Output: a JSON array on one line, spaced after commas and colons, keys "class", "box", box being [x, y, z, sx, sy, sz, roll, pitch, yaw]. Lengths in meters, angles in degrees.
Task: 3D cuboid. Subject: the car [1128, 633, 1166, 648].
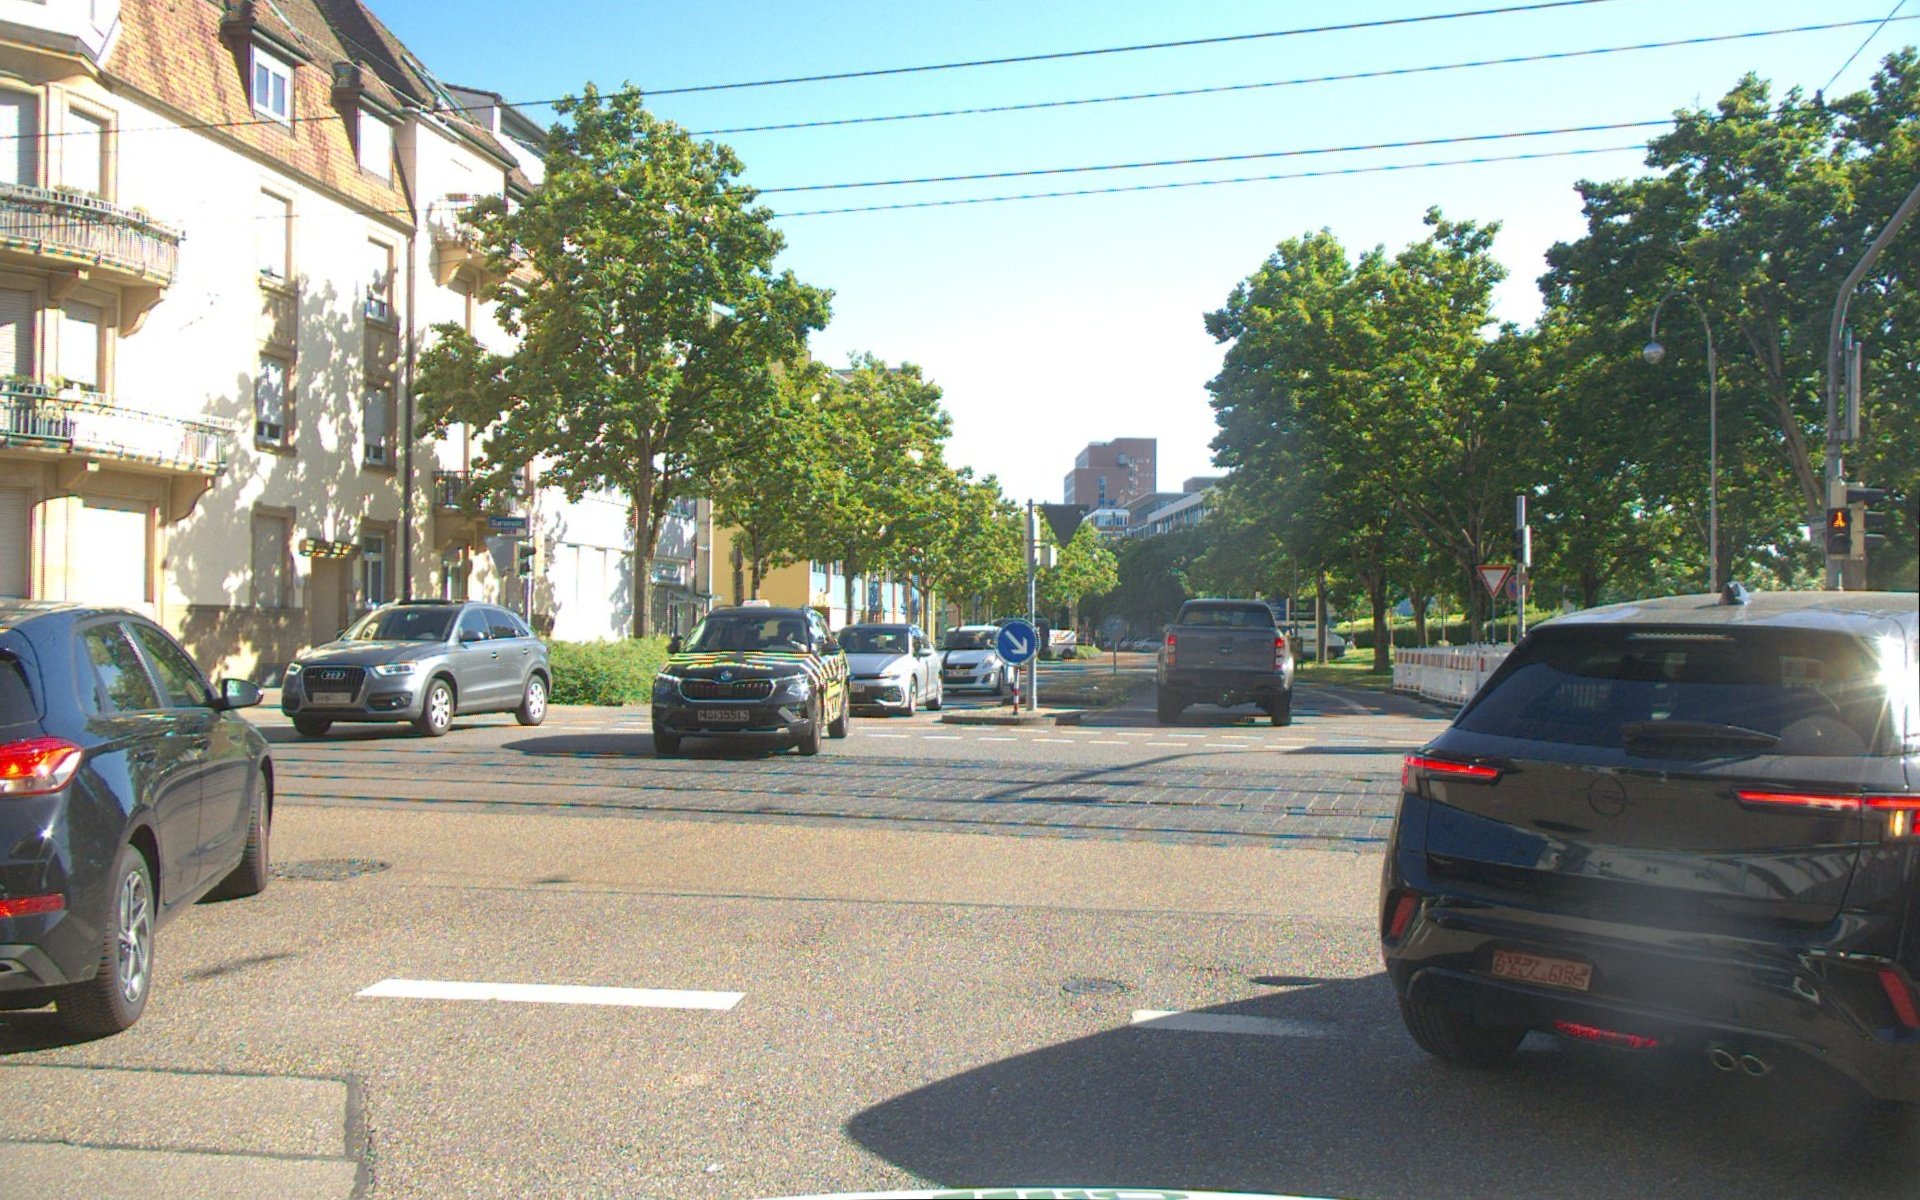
[{"class": "car", "box": [19.860, 4.332, 175.550, 3.866, 1.421, 1.516, -2, -2, 0]}]

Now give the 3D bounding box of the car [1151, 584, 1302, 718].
[{"class": "car", "box": [4.140, 0.747, 25.737, 2.087, 1.868, 4.944, 0, -1, 9]}]

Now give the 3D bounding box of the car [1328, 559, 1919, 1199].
[{"class": "car", "box": [3.061, 0.711, 5.695, 3.726, 1.544, 1.759, 1, -1, -44]}]

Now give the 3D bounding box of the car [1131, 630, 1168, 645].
[{"class": "car", "box": [20.880, 4.153, 182.678, 3.866, 1.421, 1.516, -2, -2, 0]}]

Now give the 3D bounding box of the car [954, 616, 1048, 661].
[{"class": "car", "box": [2.397, 2.245, 97.097, 5.176, 2.590, 1.976, 0, -2, -17]}]

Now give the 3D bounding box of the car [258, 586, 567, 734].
[{"class": "car", "box": [-6.620, 0.696, 20.533, 1.844, 1.638, 4.151, 0, -1, 11]}]

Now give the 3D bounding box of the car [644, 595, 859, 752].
[{"class": "car", "box": [-2.178, 0.751, 18.358, 1.751, 1.540, 4.117, 0, -1, 2]}]

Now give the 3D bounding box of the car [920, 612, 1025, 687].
[{"class": "car", "box": [0.333, 1.081, 36.993, 1.668, 1.539, 3.866, -2, -1, 10]}]

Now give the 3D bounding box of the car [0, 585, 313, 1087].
[{"class": "car", "box": [-3.935, 0.735, 6.828, 1.770, 1.476, 4.310, -1, 0, -14]}]

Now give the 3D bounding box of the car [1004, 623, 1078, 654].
[{"class": "car", "box": [5.634, 2.678, 114.987, 4.824, 2.120, 1.969, 0, -2, -26]}]

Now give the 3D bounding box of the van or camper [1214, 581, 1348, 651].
[{"class": "van or camper", "box": [15.044, 0.774, 77.921, 5.949, 2.980, 2.577, -3, -2, 8]}]

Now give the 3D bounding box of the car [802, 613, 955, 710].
[{"class": "car", "box": [-1.257, 0.961, 27.236, 1.671, 1.478, 3.854, 0, -1, 11]}]
